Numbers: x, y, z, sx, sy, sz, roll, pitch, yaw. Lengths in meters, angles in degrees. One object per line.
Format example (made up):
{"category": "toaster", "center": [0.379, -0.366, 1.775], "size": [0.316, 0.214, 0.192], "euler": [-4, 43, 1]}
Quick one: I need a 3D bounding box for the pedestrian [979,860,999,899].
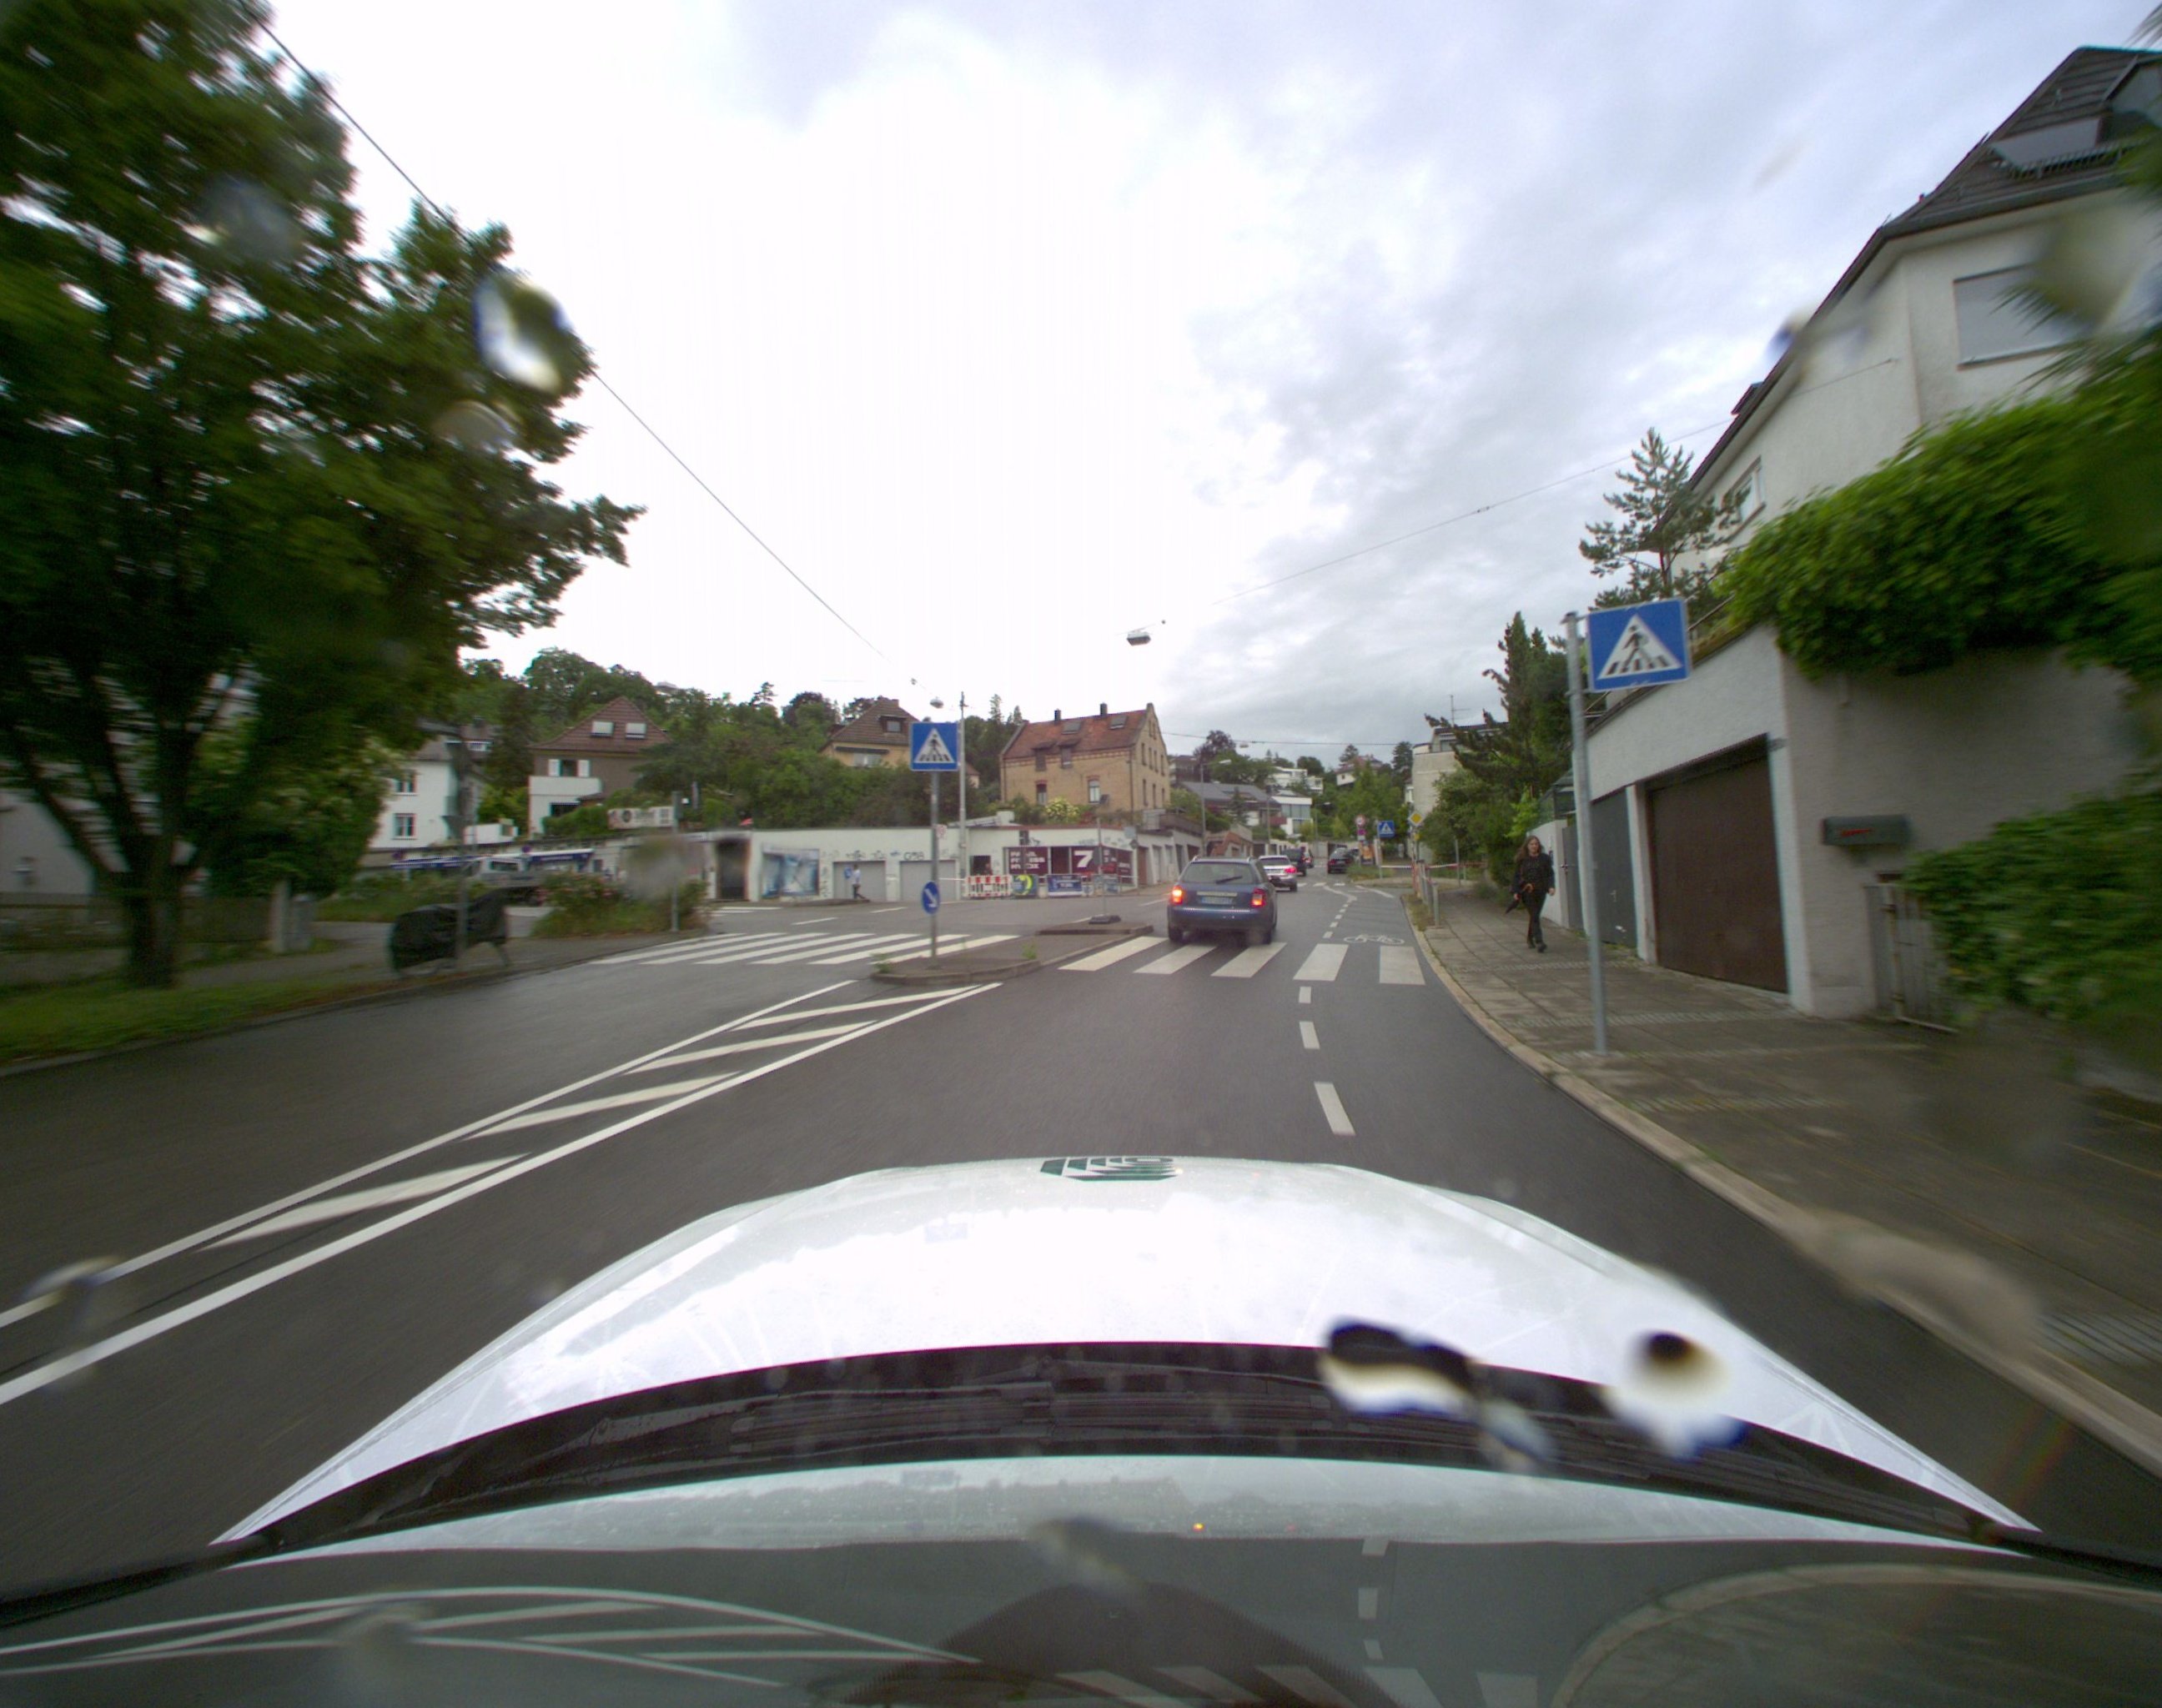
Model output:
{"category": "pedestrian", "center": [-4.085, 1.153, 36.146], "size": [0.586, 1.689, 0.619], "euler": [-2, -2, -35]}

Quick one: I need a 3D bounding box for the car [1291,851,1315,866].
{"category": "car", "center": [20.137, 0.392, 73.872], "size": [1.809, 1.296, 4.019], "euler": [-2, 0, 18]}

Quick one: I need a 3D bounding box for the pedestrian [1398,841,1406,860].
{"category": "pedestrian", "center": [31.013, -0.352, 78.626], "size": [0.633, 1.795, 0.748], "euler": [-2, 0, 17]}

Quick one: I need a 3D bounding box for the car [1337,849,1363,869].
{"category": "car", "center": [20.543, 0.354, 62.320], "size": [1.702, 1.450, 3.849], "euler": [-2, 0, 16]}

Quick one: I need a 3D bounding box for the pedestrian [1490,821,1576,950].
{"category": "pedestrian", "center": [6.403, 0.441, 11.603], "size": [0.797, 1.722, 1.065], "euler": [-4, -1, 19]}

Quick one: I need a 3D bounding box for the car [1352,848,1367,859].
{"category": "car", "center": [34.531, -0.119, 100.835], "size": [1.455, 1.254, 3.602], "euler": [-2, 0, 24]}

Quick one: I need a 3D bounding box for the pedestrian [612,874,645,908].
{"category": "pedestrian", "center": [-20.489, 1.672, 36.891], "size": [0.968, 1.505, 0.894], "euler": [0, 0, 17]}

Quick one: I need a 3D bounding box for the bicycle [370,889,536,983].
{"category": "bicycle", "center": [-8.907, 1.118, 11.666], "size": [0.417, 1.085, 1.972], "euler": [-1, 1, 18]}

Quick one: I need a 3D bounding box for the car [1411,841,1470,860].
{"category": "car", "center": [28.172, -0.263, 63.810], "size": [3.948, 1.415, 1.736], "euler": [-2, -1, 34]}

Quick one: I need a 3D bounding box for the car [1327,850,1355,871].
{"category": "car", "center": [18.294, 0.447, 57.338], "size": [1.757, 1.377, 4.368], "euler": [-2, 0, 17]}

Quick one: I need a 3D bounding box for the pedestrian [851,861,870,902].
{"category": "pedestrian", "center": [-9.779, 1.201, 36.182], "size": [0.703, 1.806, 0.807], "euler": [0, -1, -7]}

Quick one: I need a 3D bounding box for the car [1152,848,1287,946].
{"category": "car", "center": [2.634, 0.666, 14.680], "size": [1.797, 1.439, 4.101], "euler": [-2, 1, 18]}

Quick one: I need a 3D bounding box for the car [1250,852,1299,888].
{"category": "car", "center": [7.857, 0.661, 32.922], "size": [1.798, 1.361, 4.015], "euler": [-1, -2, 14]}

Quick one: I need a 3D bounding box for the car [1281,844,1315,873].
{"category": "car", "center": [14.520, 0.282, 54.406], "size": [1.809, 1.819, 4.019], "euler": [-2, 0, 19]}

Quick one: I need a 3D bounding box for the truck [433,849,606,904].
{"category": "truck", "center": [-24.416, 0.978, 35.445], "size": [6.737, 2.269, 2.324], "euler": [-1, -1, 15]}
